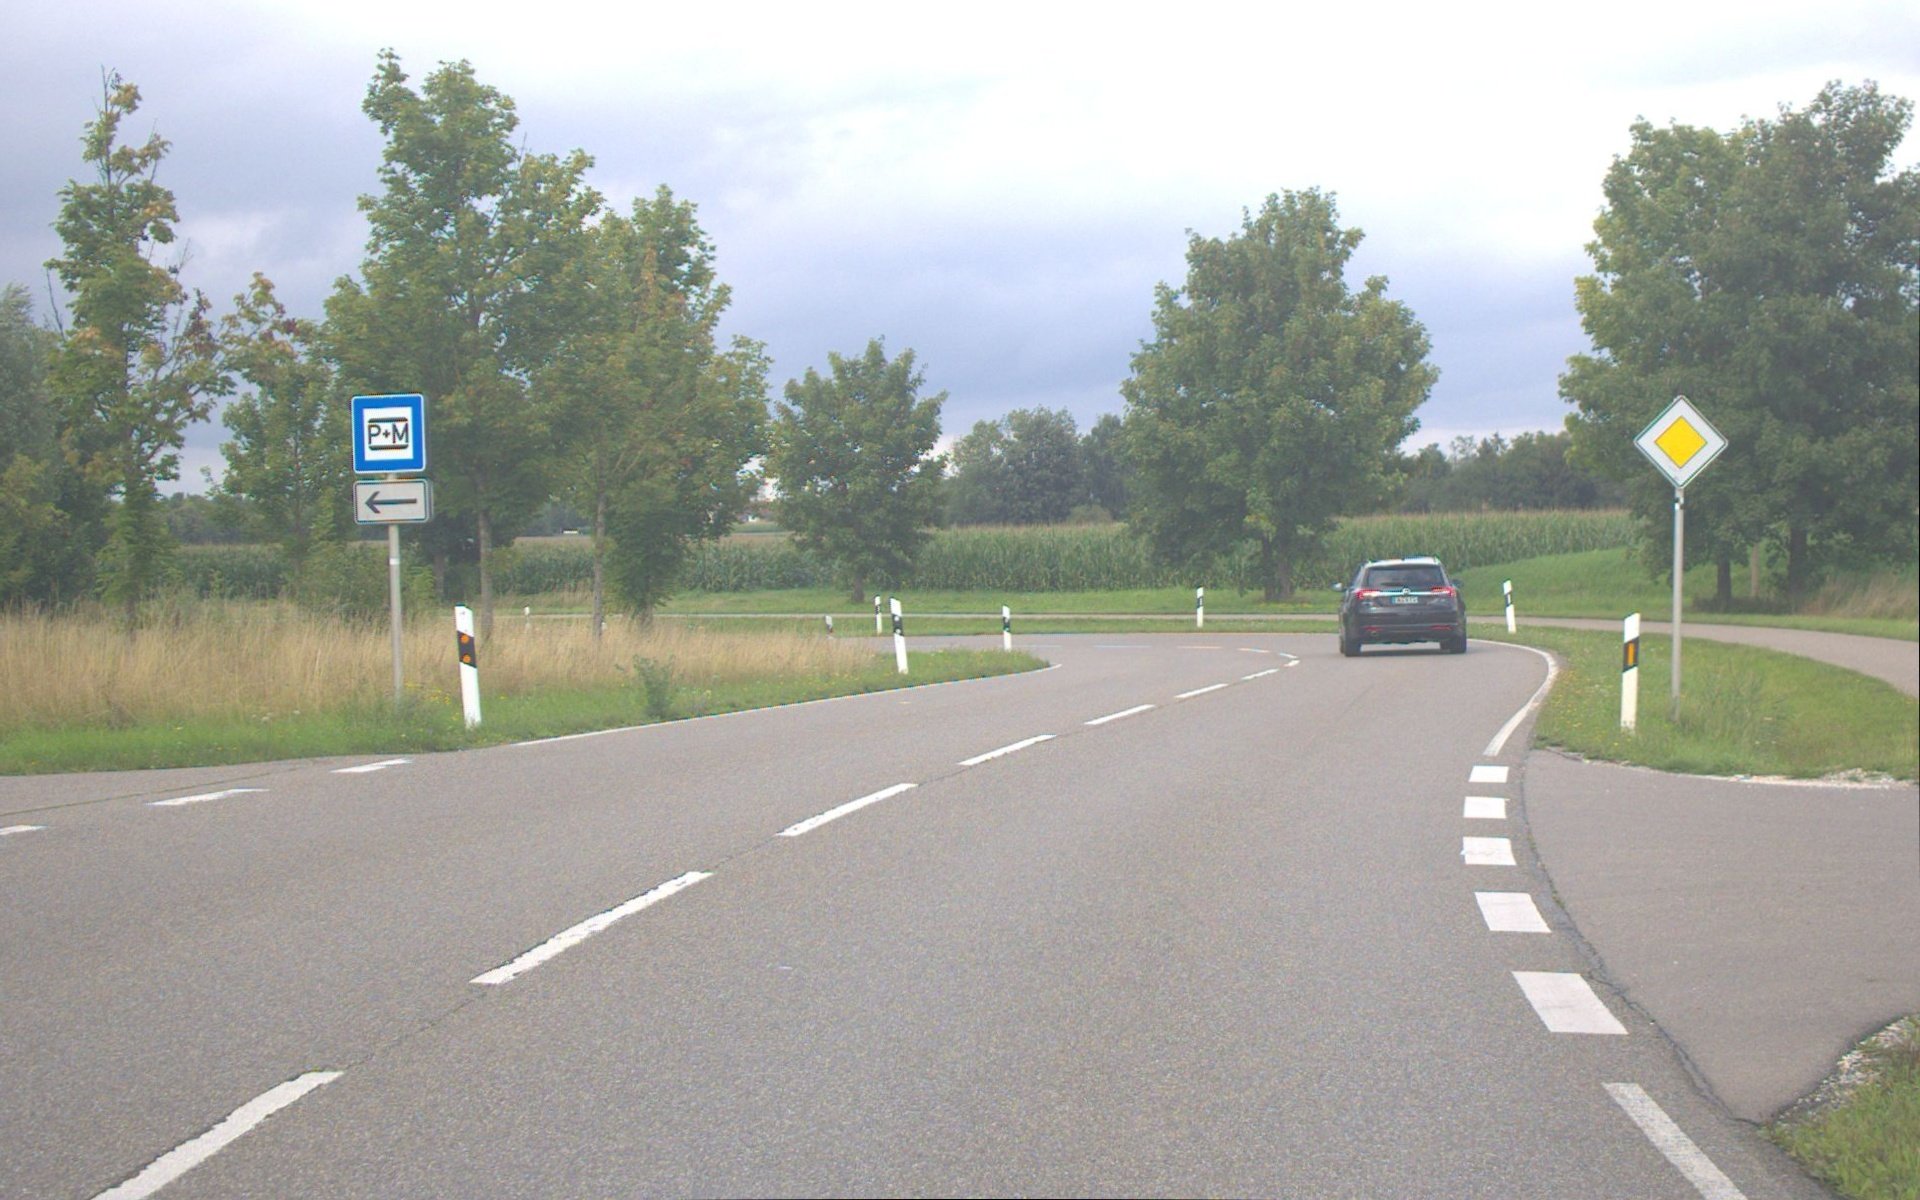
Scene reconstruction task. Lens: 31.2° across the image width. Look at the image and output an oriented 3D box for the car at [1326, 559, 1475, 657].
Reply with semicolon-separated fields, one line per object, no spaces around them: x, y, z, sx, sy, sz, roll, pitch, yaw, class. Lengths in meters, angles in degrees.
6.674;0.090;52.436;1.841;1.412;4.000;0;1;1;car
